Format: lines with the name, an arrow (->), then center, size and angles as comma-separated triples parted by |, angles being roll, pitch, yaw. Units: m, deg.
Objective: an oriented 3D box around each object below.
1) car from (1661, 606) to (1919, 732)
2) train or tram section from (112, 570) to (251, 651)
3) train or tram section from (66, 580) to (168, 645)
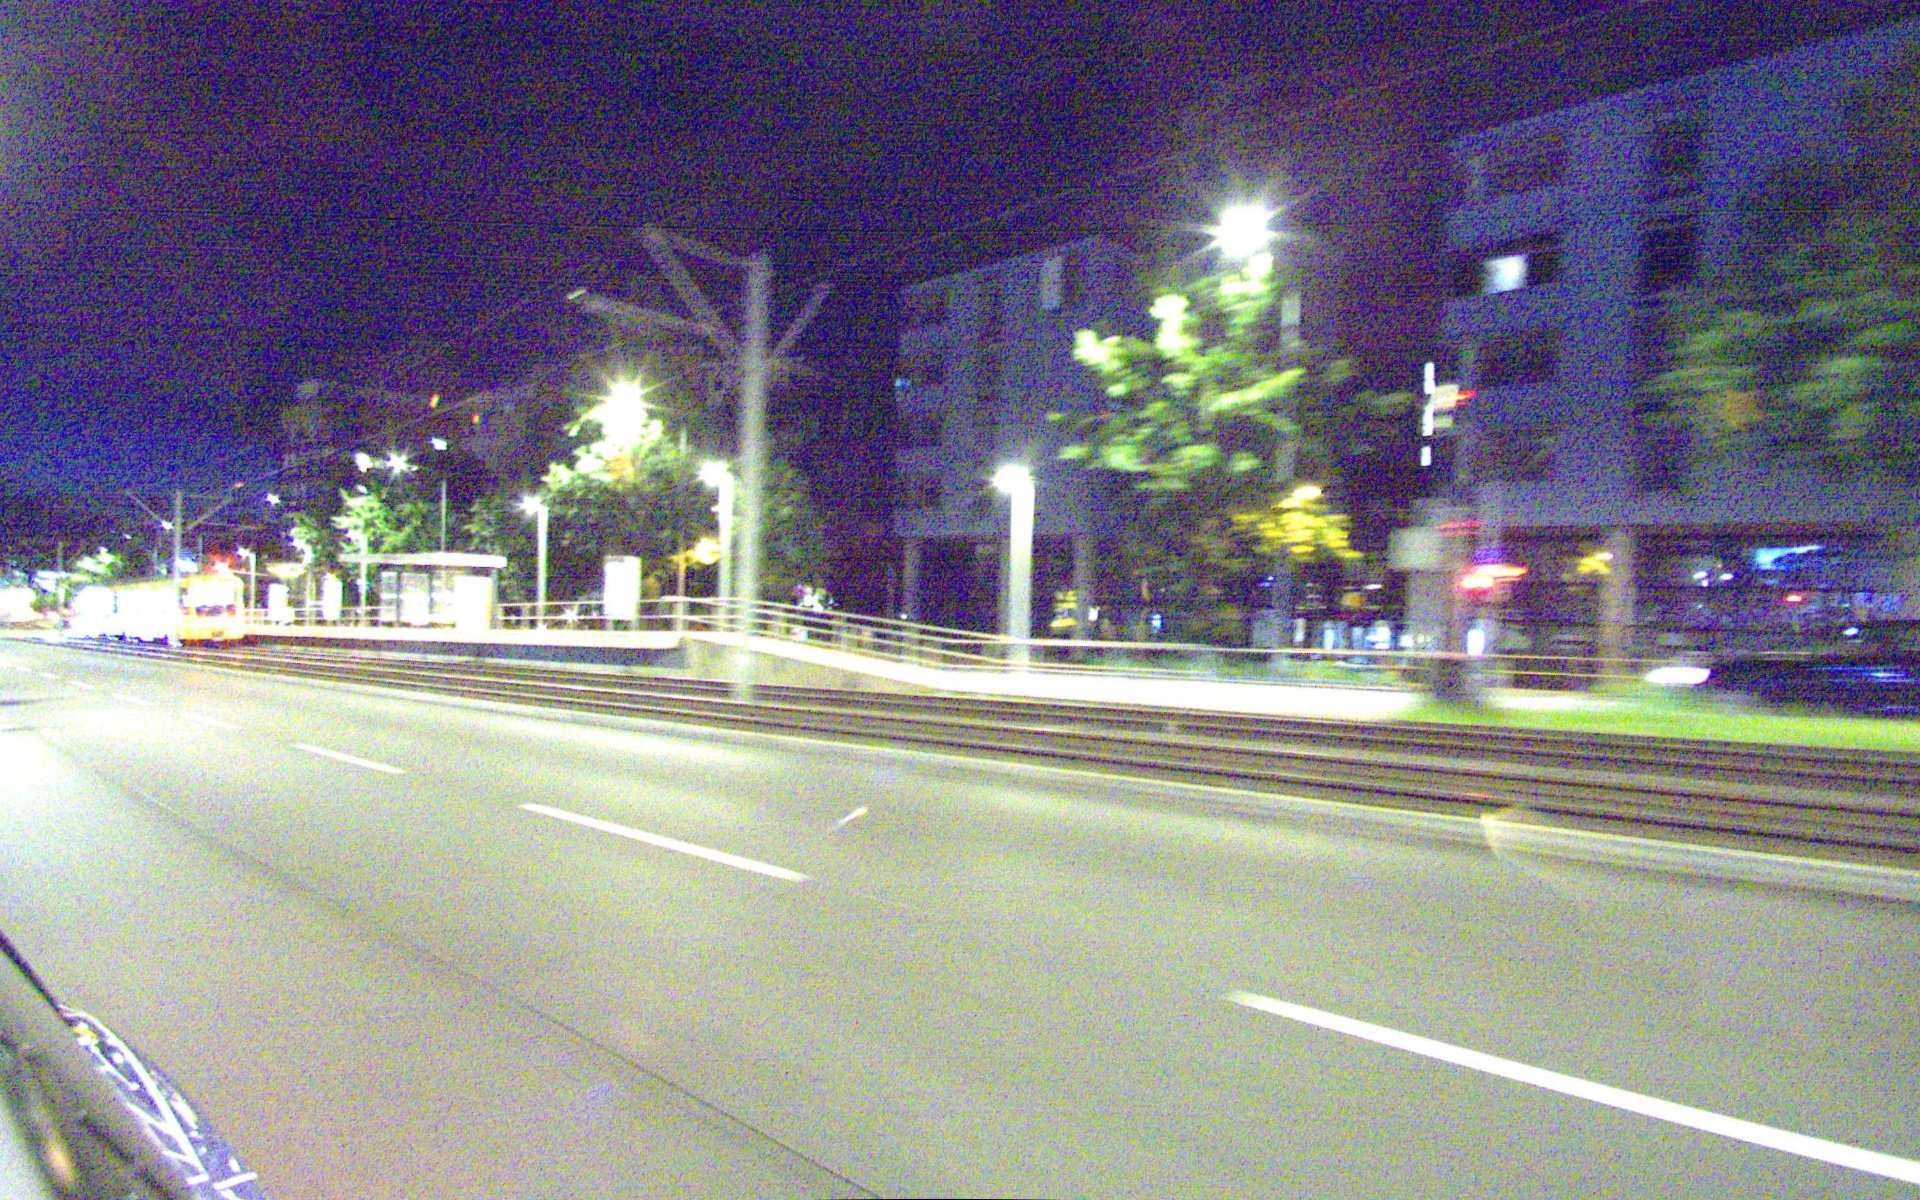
car -> 11.952, 0.861, 13.469 | 4.171, 1.508, 1.766 | 1, 0, 40
train or tram section -> -42.870, 0.607, 55.247 | 18.665, 3.856, 2.729 | -1, -1, 42
train or tram section -> -56.952, 0.853, 68.043 | 19.360, 3.875, 2.709 | -1, -1, 42
